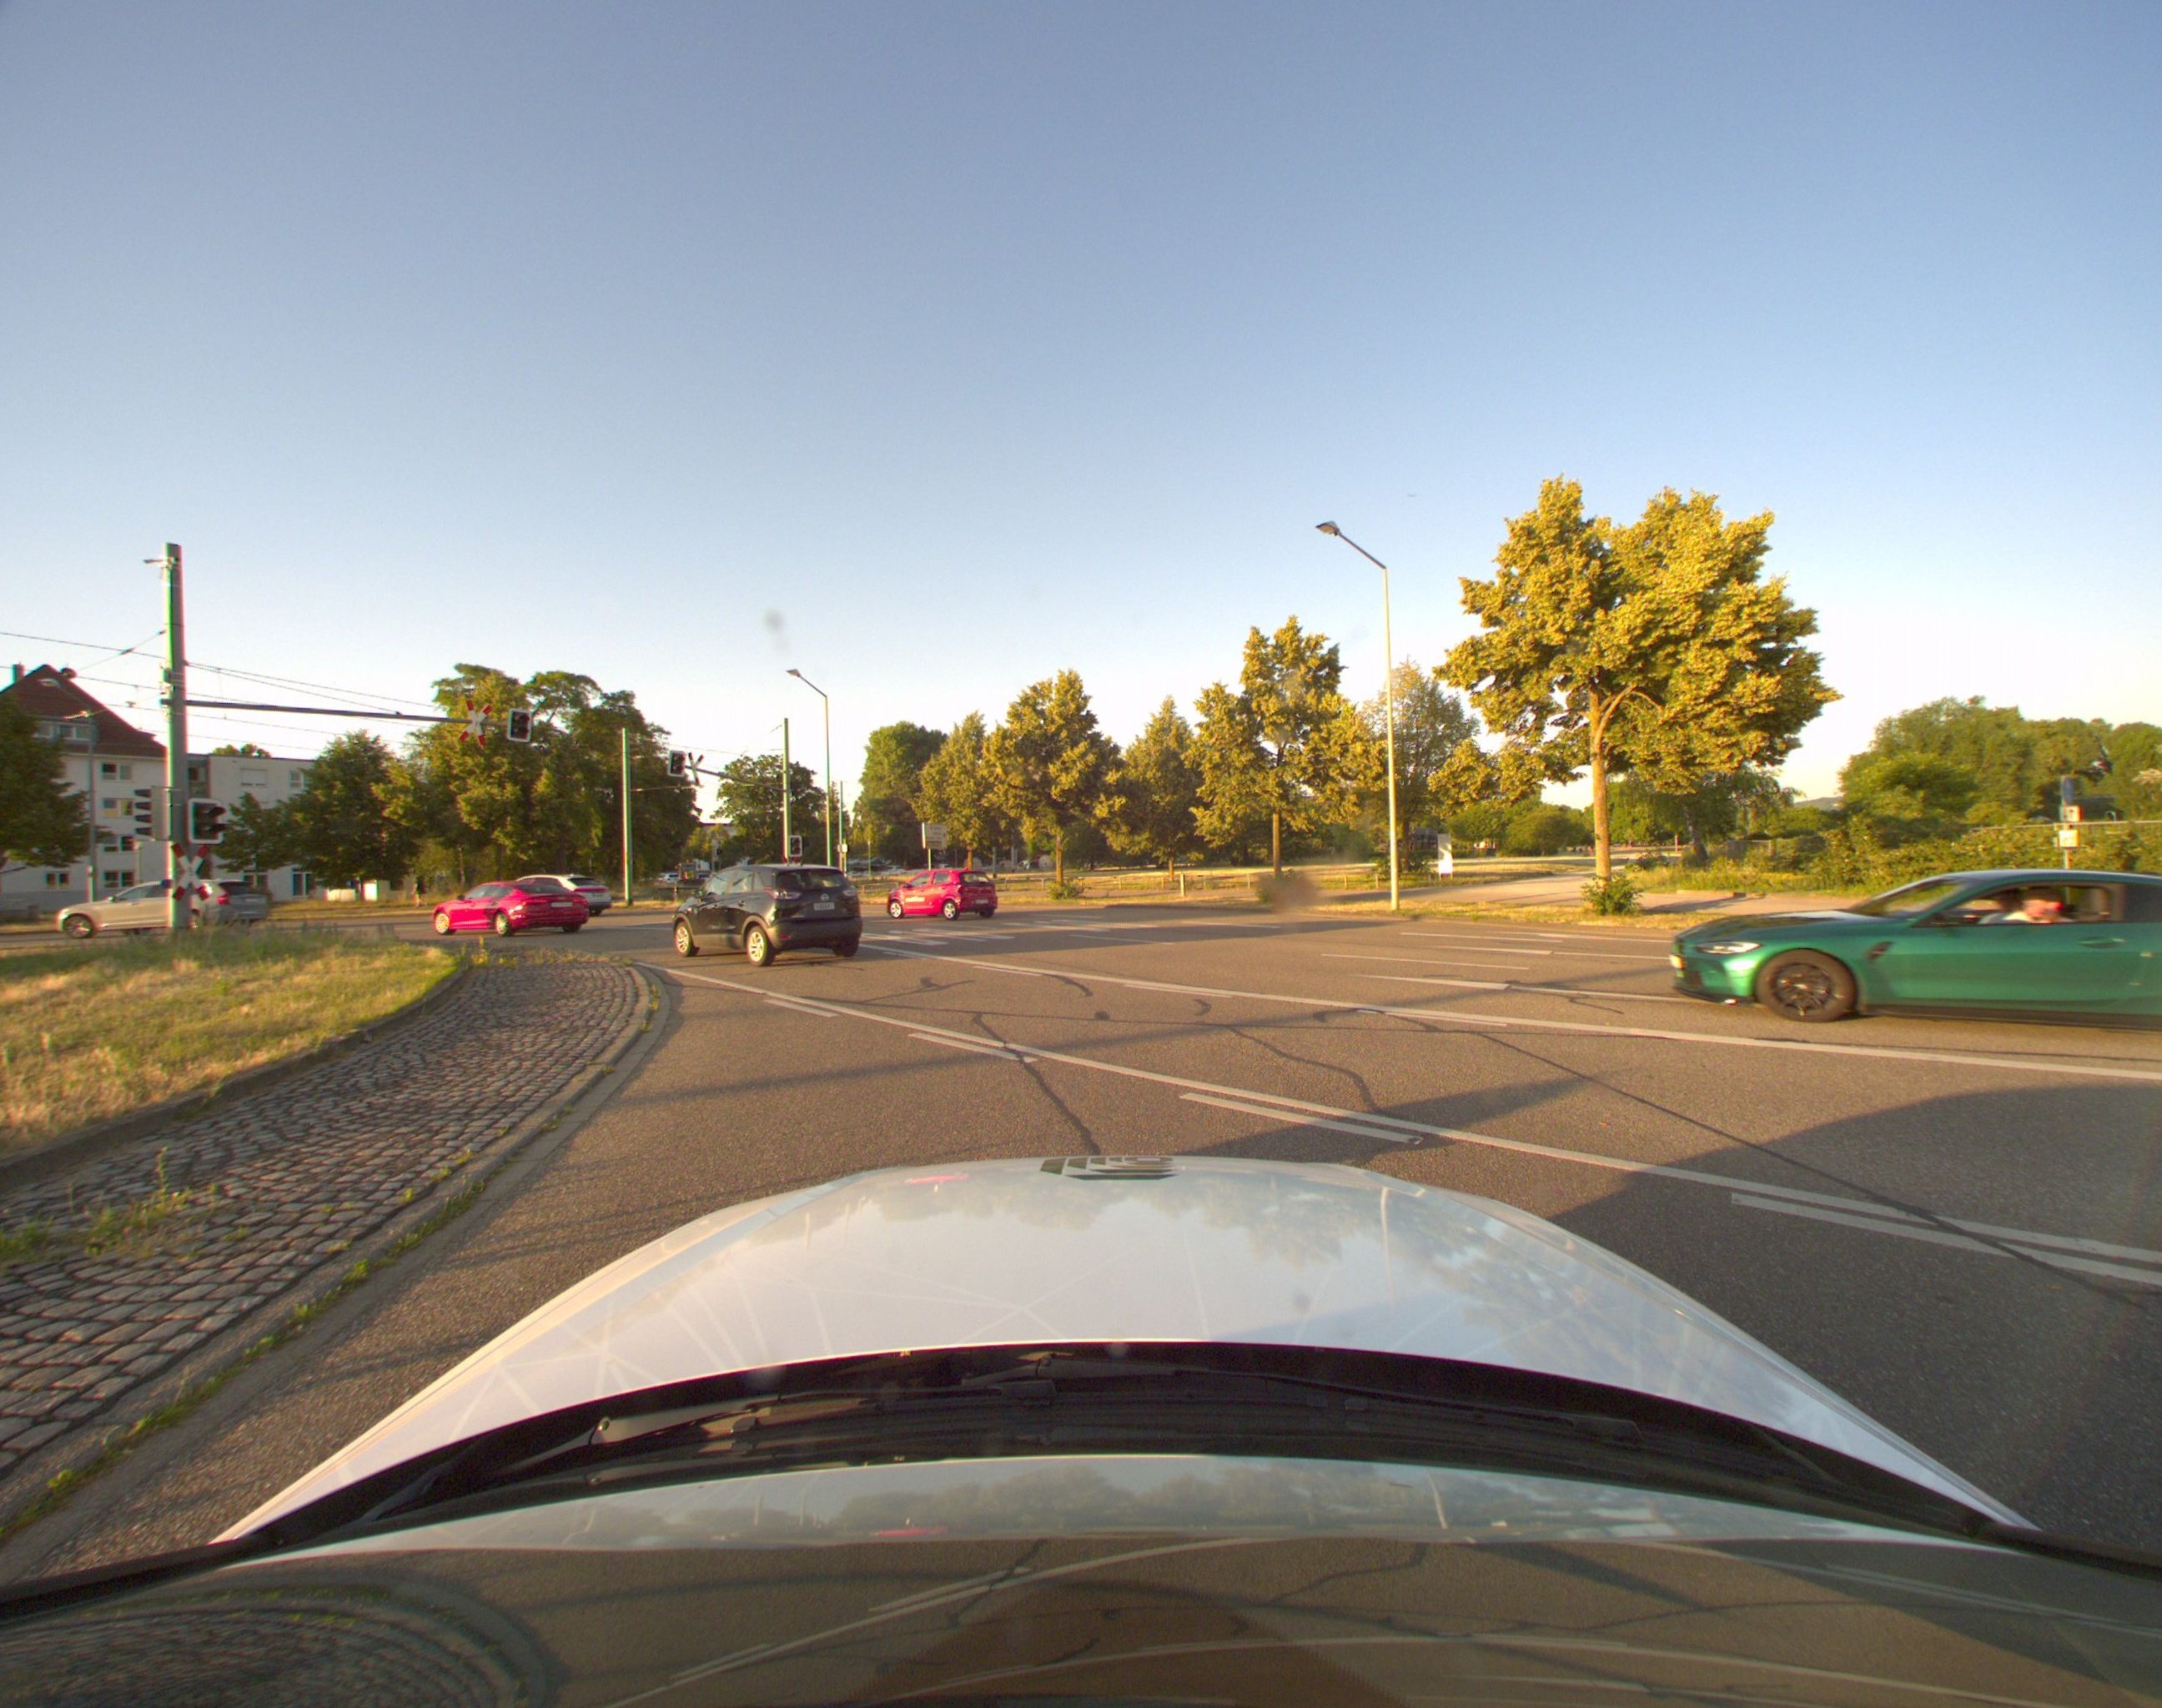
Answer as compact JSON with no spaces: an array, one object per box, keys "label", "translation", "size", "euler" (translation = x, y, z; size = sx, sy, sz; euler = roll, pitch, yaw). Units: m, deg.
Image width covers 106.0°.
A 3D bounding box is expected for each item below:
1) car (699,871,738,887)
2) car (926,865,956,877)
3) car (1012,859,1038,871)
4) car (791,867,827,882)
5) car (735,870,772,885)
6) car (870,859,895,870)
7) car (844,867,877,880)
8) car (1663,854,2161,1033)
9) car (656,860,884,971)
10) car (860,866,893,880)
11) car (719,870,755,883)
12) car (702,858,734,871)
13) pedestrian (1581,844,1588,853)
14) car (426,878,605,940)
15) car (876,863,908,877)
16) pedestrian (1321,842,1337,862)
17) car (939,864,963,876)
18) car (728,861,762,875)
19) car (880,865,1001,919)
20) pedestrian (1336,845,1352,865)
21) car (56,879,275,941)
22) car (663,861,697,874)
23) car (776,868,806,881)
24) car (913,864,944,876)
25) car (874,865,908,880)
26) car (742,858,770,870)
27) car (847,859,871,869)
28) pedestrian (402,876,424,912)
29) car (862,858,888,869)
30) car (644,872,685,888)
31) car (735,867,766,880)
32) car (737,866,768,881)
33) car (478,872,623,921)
[{"label":"car","translation":[-39.014,2.680,87.550],"size":[3.948,1.604,2.013],"euler":[-2,0,34]},{"label":"car","translation":[-19.984,2.367,116.489],"size":[3.948,1.604,2.013],"euler":[-2,0,34]},{"label":"car","translation":[-7.947,1.519,115.270],"size":[1.748,1.618,3.954],"euler":[-1,0,-39]},{"label":"car","translation":[-32.627,2.454,97.618],"size":[3.948,1.604,2.013],"euler":[-2,0,34]},{"label":"car","translation":[-37.044,2.702,92.069],"size":[3.948,1.604,2.013],"euler":[-2,0,34]},{"label":"car","translation":[-35.674,1.882,146.445],"size":[3.964,1.706,2.005],"euler":[-2,0,8]},{"label":"car","translation":[-28.120,2.473,103.911],"size":[3.948,1.604,2.013],"euler":[-2,0,34]},{"label":"car","translation":[8.493,0.741,7.647],"size":[4.675,1.371,2.012],"euler":[-2,0,28]},{"label":"car","translation":[-5.377,0.945,13.899],"size":[3.948,1.584,1.907],"euler":[-2,0,40]},{"label":"car","translation":[-26.663,2.479,105.995],"size":[3.948,1.604,2.013],"euler":[-2,0,34]},{"label":"car","translation":[-46.106,3.010,109.153],"size":[1.878,1.662,4.026],"euler":[-2,0,37]},{"label":"car","translation":[-61.917,1.783,139.071],"size":[1.974,2.013,4.628],"euler":[-2,0,36]},{"label":"pedestrian","translation":[90.251,-0.937,145.939],"size":[0.844,1.661,0.984],"euler":[-2,0,23]},{"label":"car","translation":[-14.715,1.380,21.169],"size":[4.440,1.392,1.907],"euler":[-2,0,27]},{"label":"car","translation":[-29.369,2.409,126.708],"size":[4.578,2.013,1.995],"euler":[-2,0,-7]},{"label":"pedestrian","translation":[20.931,-0.151,68.763],"size":[1.064,1.617,0.911],"euler":[-2,0,4]},{"label":"car","translation":[-20.832,2.523,129.996],"size":[2.008,1.752,4.549],"euler":[-1,1,-35]},{"label":"car","translation":[-51.874,2.117,125.811],"size":[1.974,2.013,4.627],"euler":[-2,0,32]},{"label":"car","translation":[-4.266,1.115,24.554],"size":[3.445,1.500,1.653],"euler":[-2,0,36]},{"label":"pedestrian","translation":[22.132,0.091,68.644],"size":[1.064,1.617,0.911],"euler":[-2,0,4]},{"label":"car","translation":[-29.769,1.778,26.630],"size":[4.610,1.736,1.891],"euler":[-2,0,-7]},{"label":"car","translation":[-65.655,2.228,133.332],"size":[1.974,2.013,4.627],"euler":[-2,0,32]},{"label":"car","translation":[-41.291,2.878,116.004],"size":[4.001,1.662,1.889],"euler":[-2,0,-20]},{"label":"car","translation":[-21.459,2.311,114.795],"size":[3.948,1.604,2.013],"euler":[-2,0,34]},{"label":"car","translation":[-27.643,2.679,118.520],"size":[4.578,2.013,1.995],"euler":[-2,0,-7]},{"label":"car","translation":[-57.829,1.799,144.942],"size":[1.974,2.013,4.143],"euler":[-2,0,36]},{"label":"car","translation":[-41.739,1.881,153.030],"size":[1.974,1.816,4.026],"euler":[-2,0,37]},{"label":"pedestrian","translation":[-36.608,2.187,44.621],"size":[0.666,1.893,0.619],"euler":[0,-1,-4]},{"label":"car","translation":[-37.951,1.772,150.051],"size":[1.975,2.013,4.025],"euler":[-2,0,42]},{"label":"car","translation":[-42.645,2.672,83.333],"size":[3.948,1.604,2.013],"euler":[-2,0,34]},{"label":"car","translation":[-46.221,2.779,113.952],"size":[4.005,1.662,1.984],"euler":[-2,0,-24]},{"label":"car","translation":[-47.437,2.761,117.484],"size":[4.006,2.013,1.984],"euler":[-2,0,-24]},{"label":"car","translation":[-20.496,1.626,31.526],"size":[4.667,1.706,2.008],"euler":[-2,0,14]}]
